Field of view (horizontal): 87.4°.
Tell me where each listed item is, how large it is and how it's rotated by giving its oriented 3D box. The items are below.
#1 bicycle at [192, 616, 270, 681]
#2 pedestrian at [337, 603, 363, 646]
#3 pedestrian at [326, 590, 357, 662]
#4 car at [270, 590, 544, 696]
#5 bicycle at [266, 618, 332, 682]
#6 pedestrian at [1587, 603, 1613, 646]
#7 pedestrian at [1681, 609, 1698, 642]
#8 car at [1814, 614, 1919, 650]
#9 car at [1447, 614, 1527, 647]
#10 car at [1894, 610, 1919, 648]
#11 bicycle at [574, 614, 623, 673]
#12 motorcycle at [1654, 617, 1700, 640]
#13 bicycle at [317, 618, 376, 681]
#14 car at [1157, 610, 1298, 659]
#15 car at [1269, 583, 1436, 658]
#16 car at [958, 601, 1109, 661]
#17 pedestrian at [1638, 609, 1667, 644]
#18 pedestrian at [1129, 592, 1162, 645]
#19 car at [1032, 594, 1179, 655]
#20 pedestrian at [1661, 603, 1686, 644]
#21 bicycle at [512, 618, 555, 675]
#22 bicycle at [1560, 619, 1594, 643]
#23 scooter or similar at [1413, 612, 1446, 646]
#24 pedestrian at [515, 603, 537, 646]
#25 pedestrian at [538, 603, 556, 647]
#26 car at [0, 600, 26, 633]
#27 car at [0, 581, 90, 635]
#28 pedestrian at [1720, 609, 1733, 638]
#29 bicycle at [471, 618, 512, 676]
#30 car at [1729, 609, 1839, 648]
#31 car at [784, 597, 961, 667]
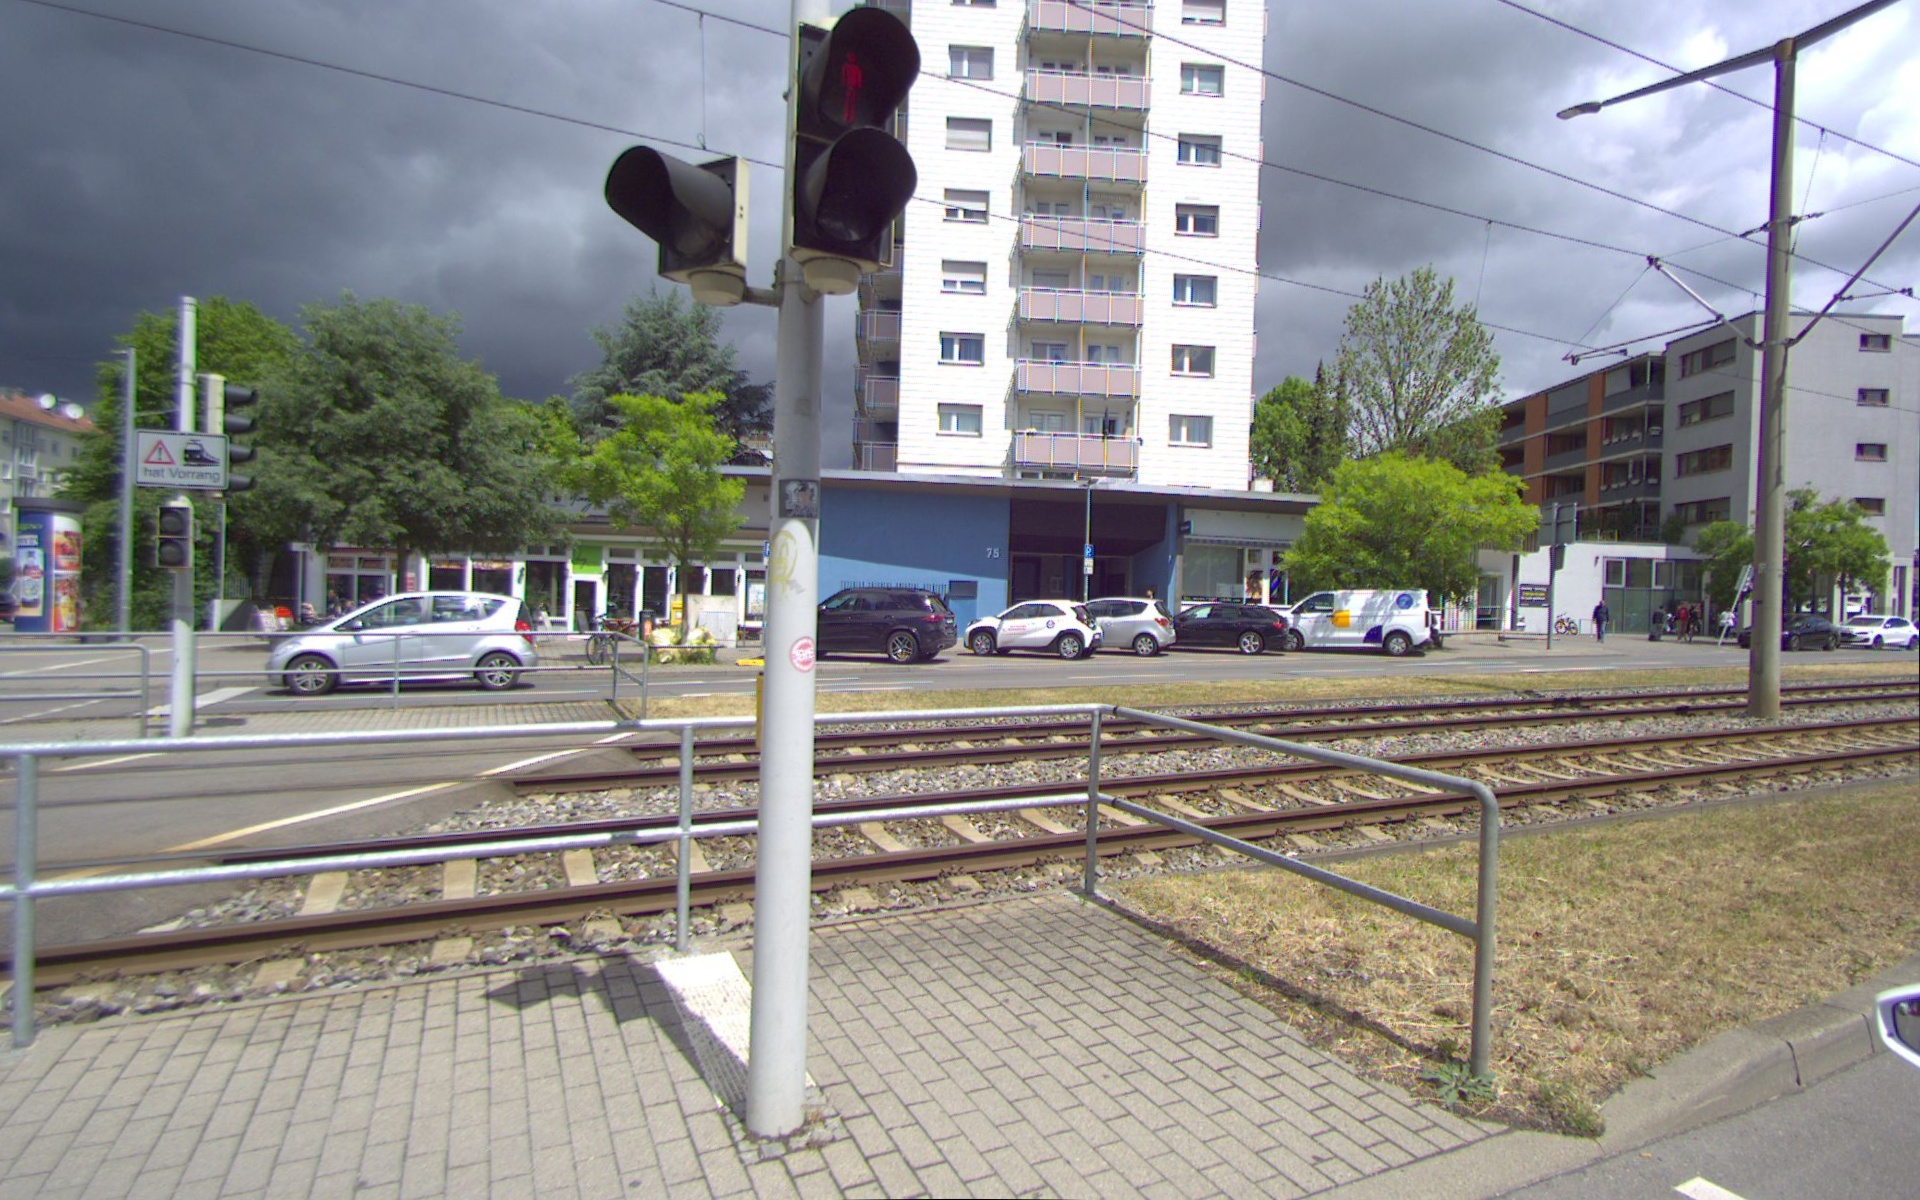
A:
[{"bbox_3d":[-13.037,0.832,18.029,0.695,1.080,2.419,0,-1,-26],"label":"bicycle"},{"bbox_3d":[-21.590,0.862,35.557,0.515,1.492,0.572,0,0,6],"label":"pedestrian"},{"bbox_3d":[-14.631,0.612,23.774,0.593,1.665,0.414,0,0,-29],"label":"pedestrian"},{"bbox_3d":[-8.730,0.648,16.239,3.702,1.553,1.814,0,-1,-24],"label":"car"},{"bbox_3d":[-12.114,0.882,18.480,0.695,1.080,2.419,0,-1,-26],"label":"bicycle"},{"bbox_3d":[27.079,1.030,42.515,0.828,1.816,0.873,0,0,26],"label":"pedestrian"},{"bbox_3d":[34.972,1.208,48.165,0.654,1.594,0.686,0,-1,35],"label":"pedestrian"},{"bbox_3d":[39.698,1.375,43.991,4.336,1.495,1.750,0,-1,-23],"label":"car"},{"bbox_3d":[24.483,1.365,46.807,1.959,1.462,4.359,0,-1,8],"label":"car"},{"bbox_3d":[45.196,1.340,46.355,4.051,1.685,1.984,0,1,-30],"label":"car"},{"bbox_3d":[-7.475,0.858,20.692,0.707,1.048,2.419,0,1,-26],"label":"bicycle"},{"bbox_3d":[38.206,1.505,53.563,0.733,1.194,1.883,0,-1,-29],"label":"motorcycle"},{"bbox_3d":[-11.464,0.886,18.829,0.695,1.080,2.419,0,-1,-26],"label":"bicycle"},{"bbox_3d":[8.051,0.998,30.219,3.922,1.402,1.906,0,-1,21],"label":"car"},{"bbox_3d":[12.064,0.621,31.079,4.669,2.185,1.906,0,-1,21],"label":"car"},{"bbox_3d":[1.971,0.801,26.866,3.694,1.516,1.746,0,-1,23],"label":"car"},{"bbox_3d":[31.465,1.194,45.645,0.957,1.554,0.601,0,0,-15],"label":"pedestrian"},{"bbox_3d":[6.489,0.643,35.095,0.876,1.846,0.768,1,-1,-15],"label":"pedestrian"},{"bbox_3d":[4.184,0.692,28.767,3.920,1.653,1.907,0,-1,17],"label":"car"},{"bbox_3d":[32.096,1.051,45.162,0.833,1.816,0.608,0,0,-28],"label":"pedestrian"},{"bbox_3d":[-8.700,0.904,20.435,0.695,1.080,2.419,0,-1,-26],"label":"bicycle"},{"bbox_3d":[32.524,1.646,52.961,0.656,1.228,1.974,0,-1,4],"label":"bicycle"},{"bbox_3d":[16.463,1.023,35.230,0.757,1.138,0.579,0,-7,-17],"label":"scooter or similar"},{"bbox_3d":[-15.189,0.866,35.166,0.515,1.492,0.572,0,0,2],"label":"pedestrian"},{"bbox_3d":[-14.312,0.860,34.784,0.564,1.492,0.523,0,0,-24],"label":"pedestrian"},{"bbox_3d":[-48.095,0.817,49.120,1.968,1.623,3.985,0,-1,-17],"label":"car"},{"bbox_3d":[-50.229,0.455,54.776,2.398,2.825,4.878,0,-1,-17],"label":"car"},{"bbox_3d":[39.227,1.220,51.412,0.491,1.479,0.559,0,0,35],"label":"pedestrian"},{"bbox_3d":[-9.364,0.900,20.061,0.695,1.080,2.419,0,-1,-26],"label":"bicycle"},{"bbox_3d":[33.233,1.153,40.518,4.321,1.447,1.729,1,1,-26],"label":"car"},{"bbox_3d":[-2.126,0.763,24.714,3.920,1.612,1.933,0,-1,16],"label":"car"}]
